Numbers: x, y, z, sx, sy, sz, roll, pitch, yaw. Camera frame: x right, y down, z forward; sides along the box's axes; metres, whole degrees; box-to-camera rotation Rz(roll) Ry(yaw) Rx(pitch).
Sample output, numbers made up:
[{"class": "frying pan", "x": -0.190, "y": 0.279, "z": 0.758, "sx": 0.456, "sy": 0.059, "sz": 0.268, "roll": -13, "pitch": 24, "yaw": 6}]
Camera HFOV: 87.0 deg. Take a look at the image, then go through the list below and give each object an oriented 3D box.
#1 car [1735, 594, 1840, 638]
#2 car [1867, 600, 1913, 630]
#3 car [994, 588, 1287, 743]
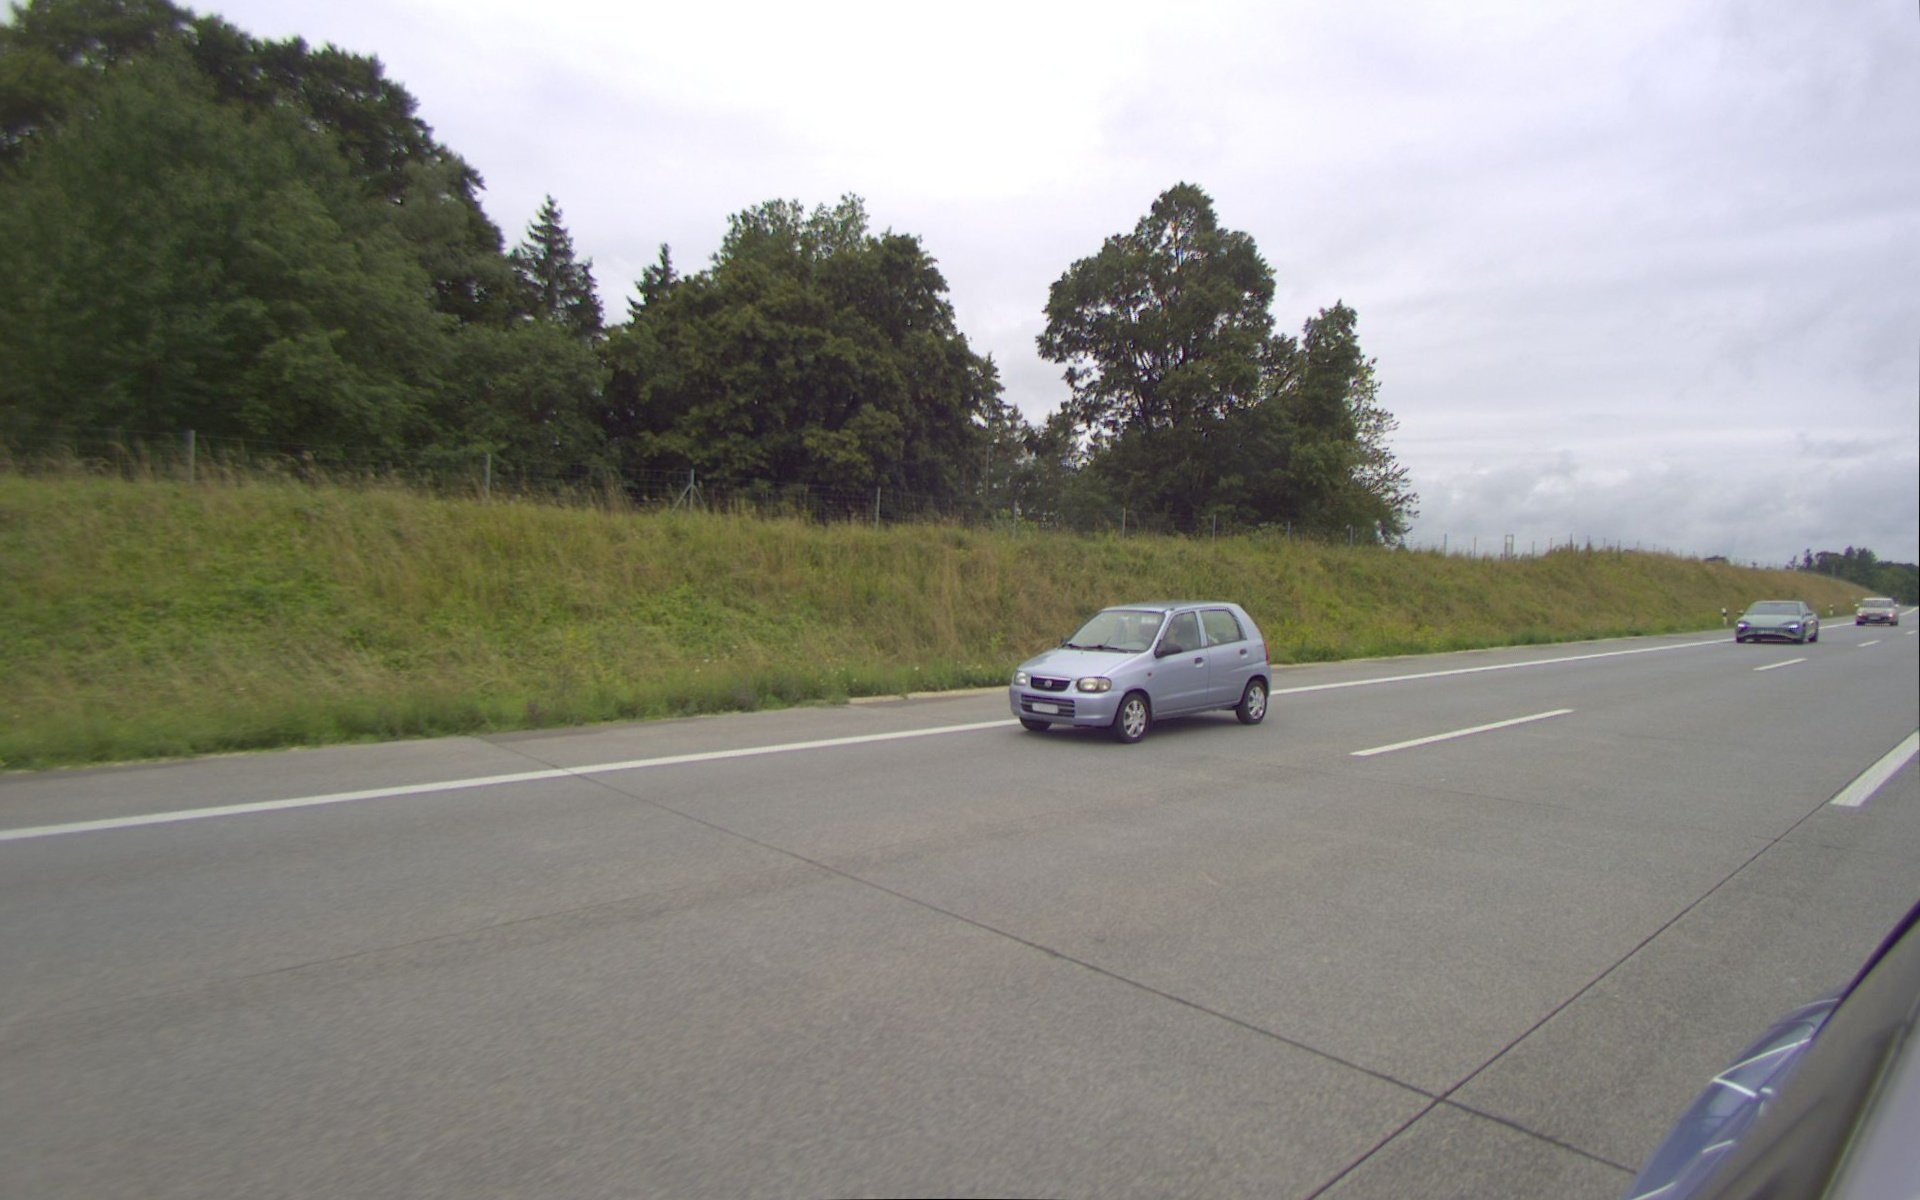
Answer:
[{"class": "car", "x": 29.217, "y": 0.567, "z": 35.700, "sx": 4.659, "sy": 1.464, "sz": 2.018, "roll": 1, "pitch": -1, "yaw": -40}, {"class": "car", "x": 55.263, "y": 0.903, "z": 60.120, "sx": 1.786, "sy": 1.624, "sz": 4.497, "roll": 5, "pitch": 2, "yaw": 44}, {"class": "car", "x": 2.146, "y": 0.657, "z": 11.514, "sx": 3.444, "sy": 1.489, "sz": 1.487, "roll": 1, "pitch": 0, "yaw": -43}]
